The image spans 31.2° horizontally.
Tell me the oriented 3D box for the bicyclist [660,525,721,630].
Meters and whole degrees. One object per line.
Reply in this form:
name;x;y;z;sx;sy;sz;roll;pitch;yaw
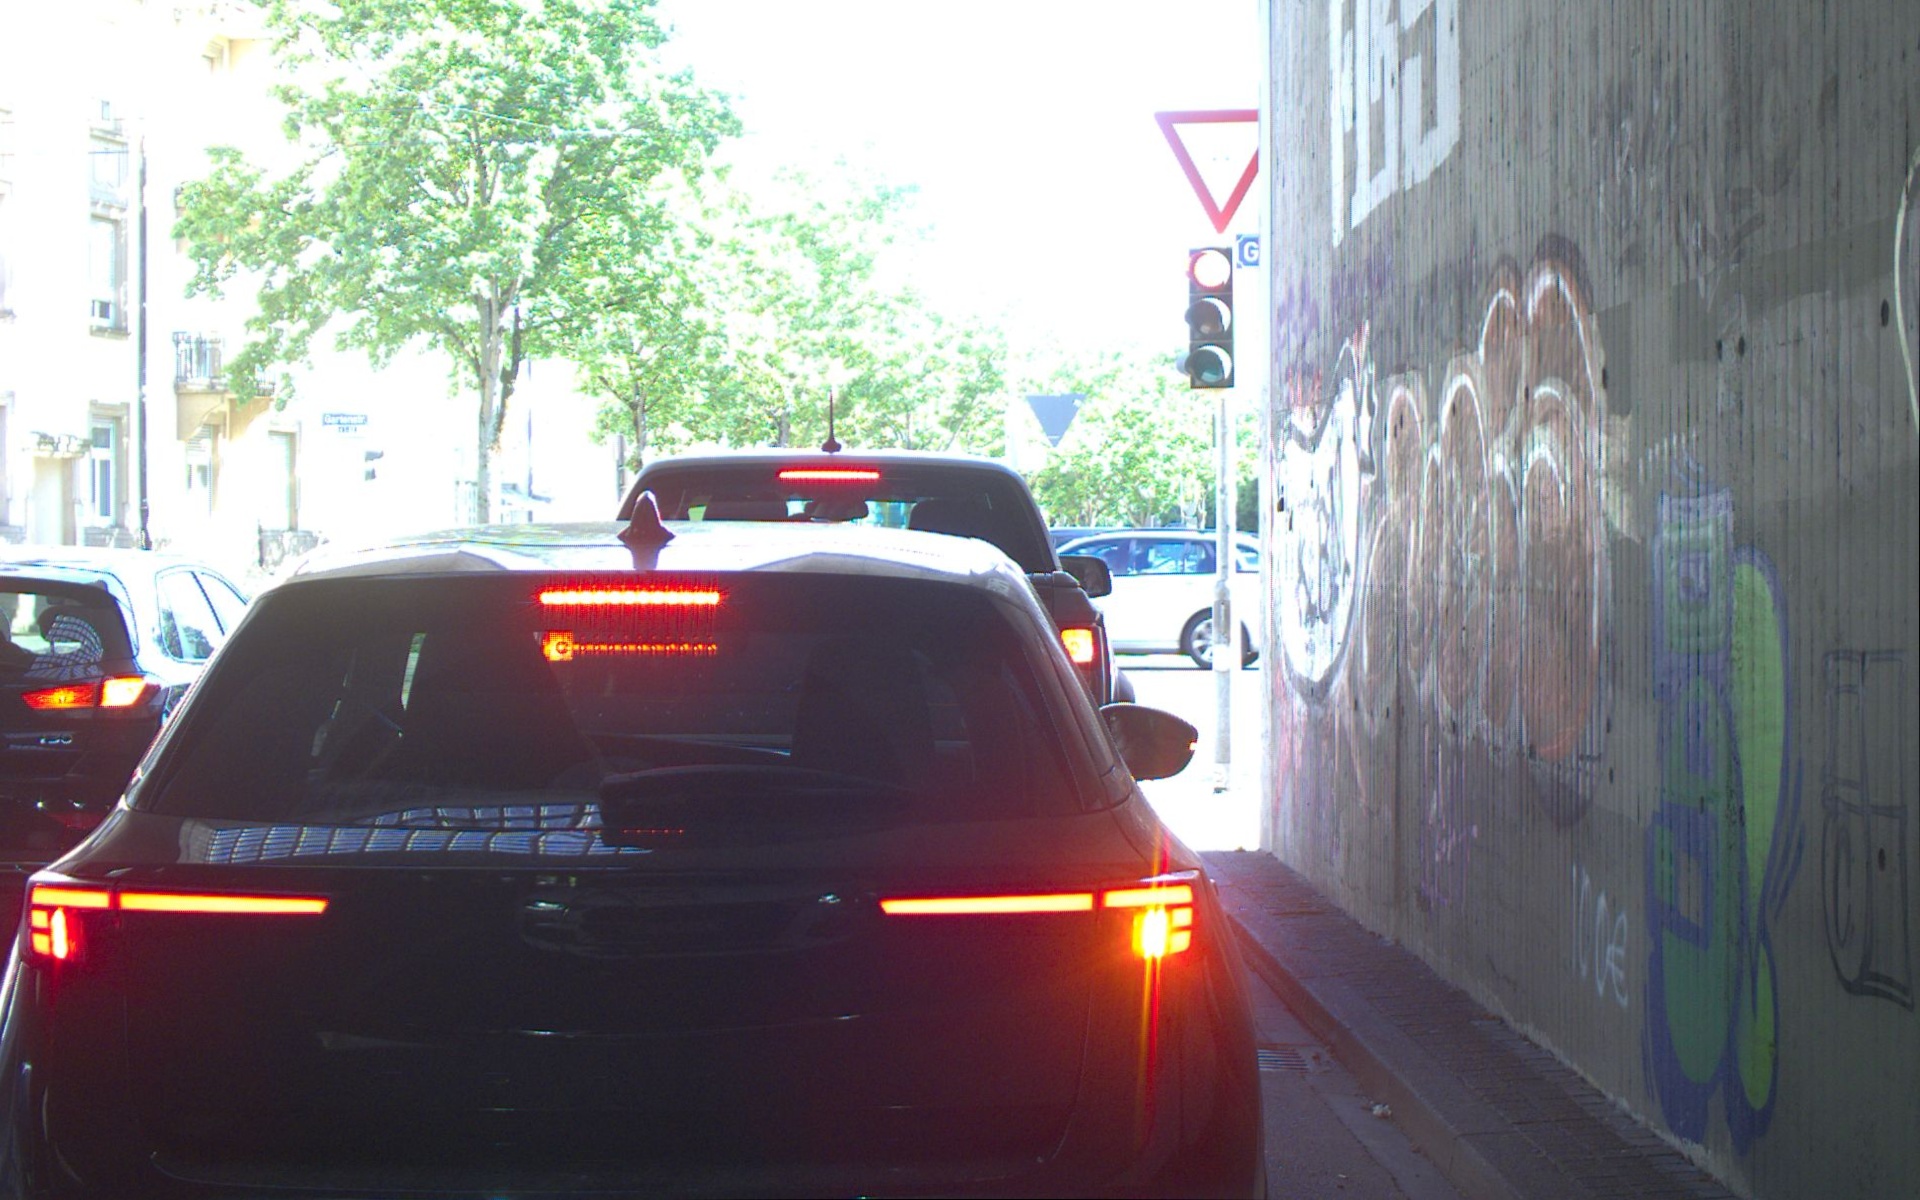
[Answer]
bicyclist;-4.079;-0.344;52.093;0.729;1.576;0.814;1;0;9

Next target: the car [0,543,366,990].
car;-3.518;0.515;13.427;1.779;1.442;4.179;1;1;-2

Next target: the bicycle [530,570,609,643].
bicycle;-5.851;0.093;51.575;0.732;1.064;1.688;1;1;9

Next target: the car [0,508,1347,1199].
car;-0.496;0.626;6.128;1.882;1.532;3.964;0;1;-1

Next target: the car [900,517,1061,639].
car;0.303;-0.246;44.231;1.968;1.492;3.896;0;-1;1

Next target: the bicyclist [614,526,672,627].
bicyclist;-5.022;-0.380;54.479;0.729;1.576;0.814;1;0;9

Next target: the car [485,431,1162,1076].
car;-0.415;0.407;11.950;1.945;1.853;3.964;0;1;-1

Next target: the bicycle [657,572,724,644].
bicycle;-4.078;0.111;52.113;0.626;1.064;1.688;1;1;9

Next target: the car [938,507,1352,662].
car;1.958;-0.178;35.807;3.989;1.546;1.999;0;1;15

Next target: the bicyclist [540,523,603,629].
bicyclist;-5.833;-0.363;51.600;0.729;1.576;0.814;1;0;9

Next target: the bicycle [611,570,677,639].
bicycle;-5.015;0.060;54.602;0.626;1.064;1.688;1;1;9
